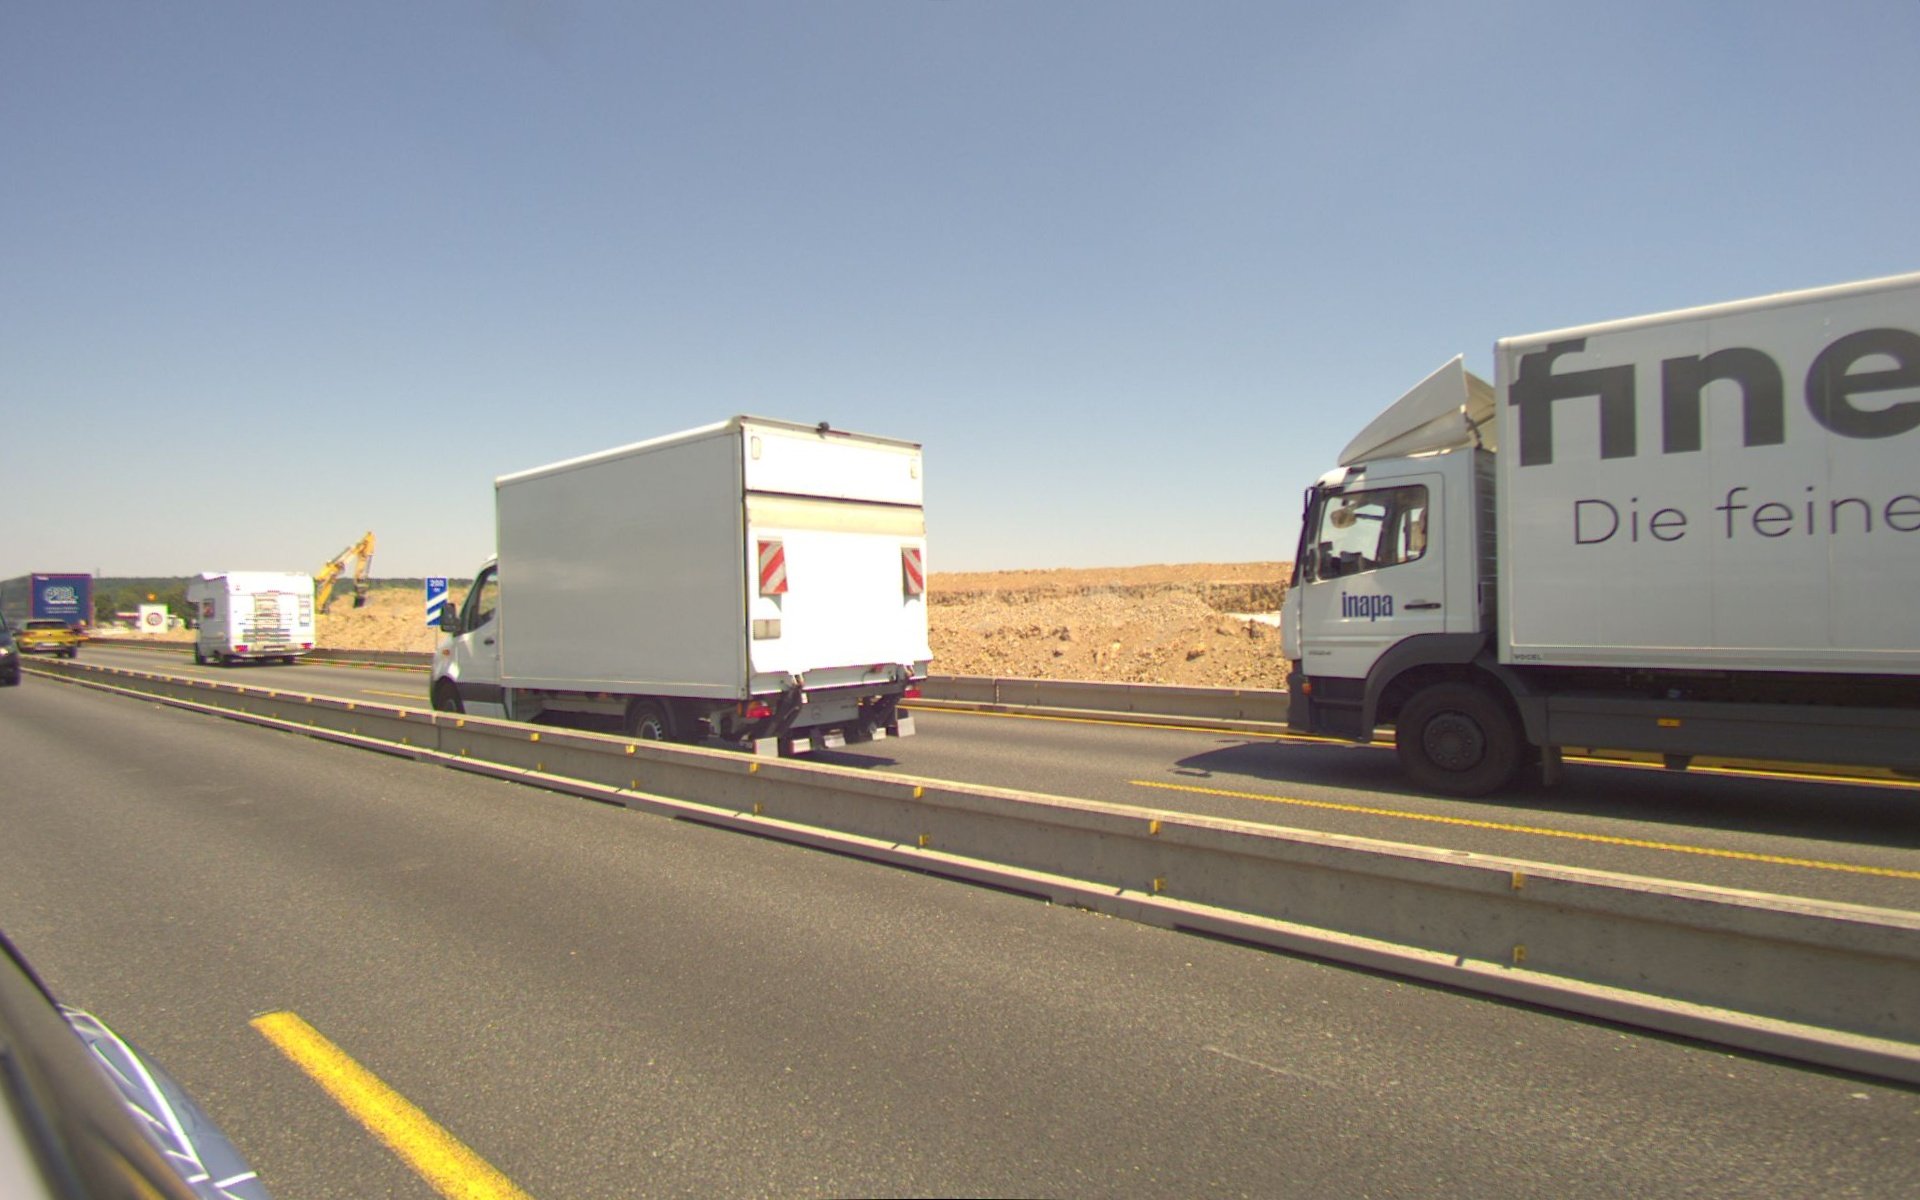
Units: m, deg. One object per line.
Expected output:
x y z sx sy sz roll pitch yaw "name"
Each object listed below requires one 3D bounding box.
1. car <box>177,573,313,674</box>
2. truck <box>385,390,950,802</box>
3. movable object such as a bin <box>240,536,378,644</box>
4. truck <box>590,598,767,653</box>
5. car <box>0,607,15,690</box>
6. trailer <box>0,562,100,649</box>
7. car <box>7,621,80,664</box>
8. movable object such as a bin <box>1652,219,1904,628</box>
-23.085 0.722 32.571 5.846 2.978 2.228 -1 0 41 "car"
-3.610 -0.007 11.038 7.308 3.173 2.248 -1 0 40 "truck"
-45.847 -0.686 71.392 4.079 7.167 7.284 -1 0 41 "movable object such as a bin"
-11.916 1.025 42.289 8.796 2.074 2.536 -1 0 40 "truck"
-23.996 1.129 23.937 5.476 1.865 1.854 -1 0 41 "car"
-53.111 0.339 58.745 12.877 4.631 2.954 -1 0 41 "trailer"
-36.451 1.640 40.221 4.361 1.586 1.743 -1 -1 42 "car"
20.239 -3.029 24.860 3.386 6.823 18.034 -1 0 40 "movable object such as a bin"
